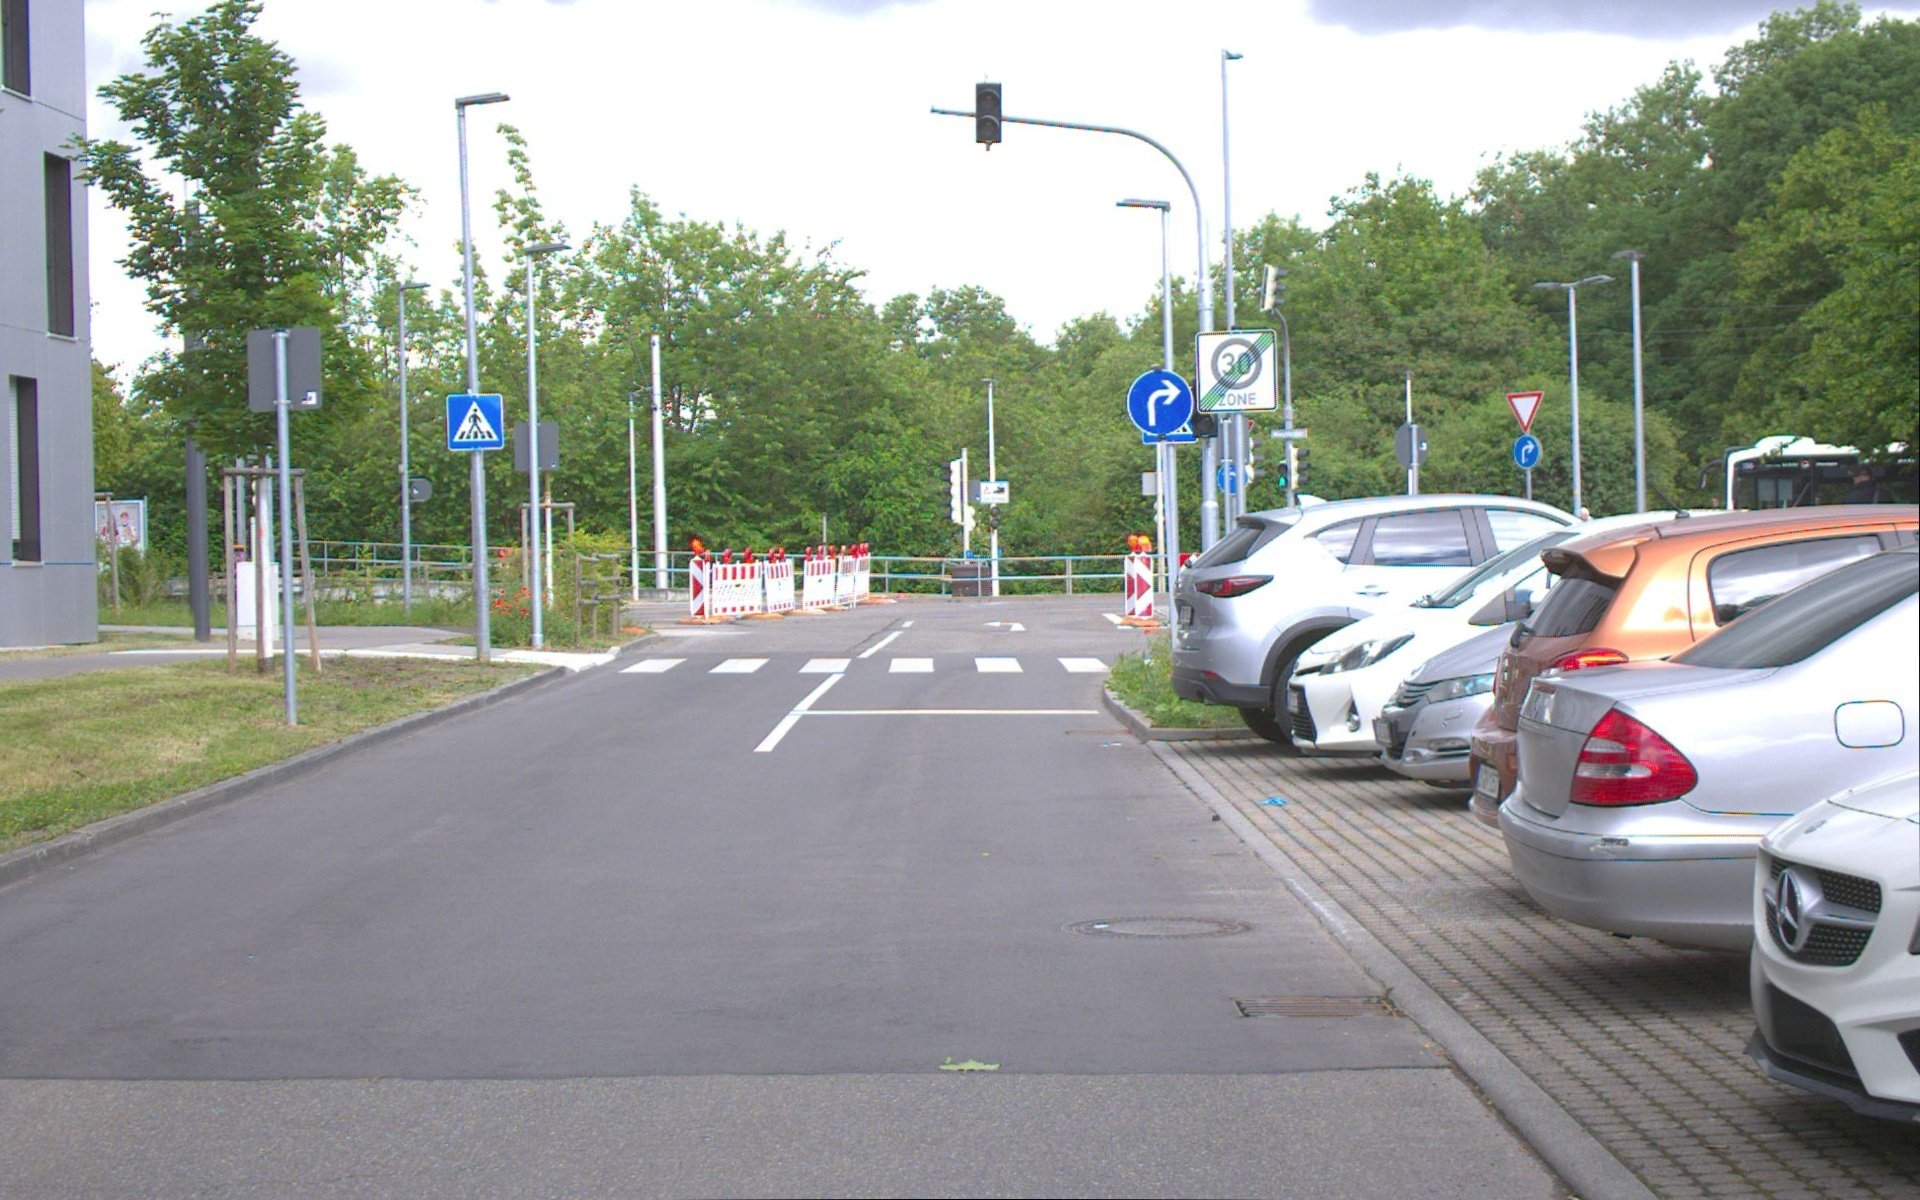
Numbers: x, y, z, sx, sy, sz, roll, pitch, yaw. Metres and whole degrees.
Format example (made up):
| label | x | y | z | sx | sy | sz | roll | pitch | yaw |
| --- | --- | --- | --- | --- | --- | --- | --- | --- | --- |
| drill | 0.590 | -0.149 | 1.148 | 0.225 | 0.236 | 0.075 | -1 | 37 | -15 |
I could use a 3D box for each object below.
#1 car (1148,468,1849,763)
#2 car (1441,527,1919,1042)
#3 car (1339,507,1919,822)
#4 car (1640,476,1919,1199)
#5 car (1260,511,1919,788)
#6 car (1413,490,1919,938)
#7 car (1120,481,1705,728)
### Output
| label | x | y | z | sx | sy | sz | roll | pitch | yaw |
| --- | --- | --- | --- | --- | --- | --- | --- | --- | --- |
| car | 3.538 | 0.077 | 23.158 | 4.378 | 1.897 | 1.916 | 0 | 1 | -2 |
| car | 3.867 | 0.505 | 10.867 | 4.378 | 1.470 | 1.916 | 0 | 1 | -2 |
| car | 4.336 | 0.300 | 18.309 | 4.378 | 1.577 | 1.916 | 0 | 1 | -2 |
| car | 3.994 | 0.517 | 8.079 | 4.378 | 1.568 | 1.916 | 0 | 0 | -2 |
| car | 4.109 | 0.259 | 20.717 | 4.378 | 1.577 | 1.916 | 0 | 1 | -2 |
| car | 4.108 | 0.386 | 13.429 | 4.378 | 1.612 | 1.916 | 0 | 1 | -2 |
| car | 3.546 | 0.011 | 27.515 | 4.378 | 1.897 | 1.916 | 0 | 1 | -2 |
